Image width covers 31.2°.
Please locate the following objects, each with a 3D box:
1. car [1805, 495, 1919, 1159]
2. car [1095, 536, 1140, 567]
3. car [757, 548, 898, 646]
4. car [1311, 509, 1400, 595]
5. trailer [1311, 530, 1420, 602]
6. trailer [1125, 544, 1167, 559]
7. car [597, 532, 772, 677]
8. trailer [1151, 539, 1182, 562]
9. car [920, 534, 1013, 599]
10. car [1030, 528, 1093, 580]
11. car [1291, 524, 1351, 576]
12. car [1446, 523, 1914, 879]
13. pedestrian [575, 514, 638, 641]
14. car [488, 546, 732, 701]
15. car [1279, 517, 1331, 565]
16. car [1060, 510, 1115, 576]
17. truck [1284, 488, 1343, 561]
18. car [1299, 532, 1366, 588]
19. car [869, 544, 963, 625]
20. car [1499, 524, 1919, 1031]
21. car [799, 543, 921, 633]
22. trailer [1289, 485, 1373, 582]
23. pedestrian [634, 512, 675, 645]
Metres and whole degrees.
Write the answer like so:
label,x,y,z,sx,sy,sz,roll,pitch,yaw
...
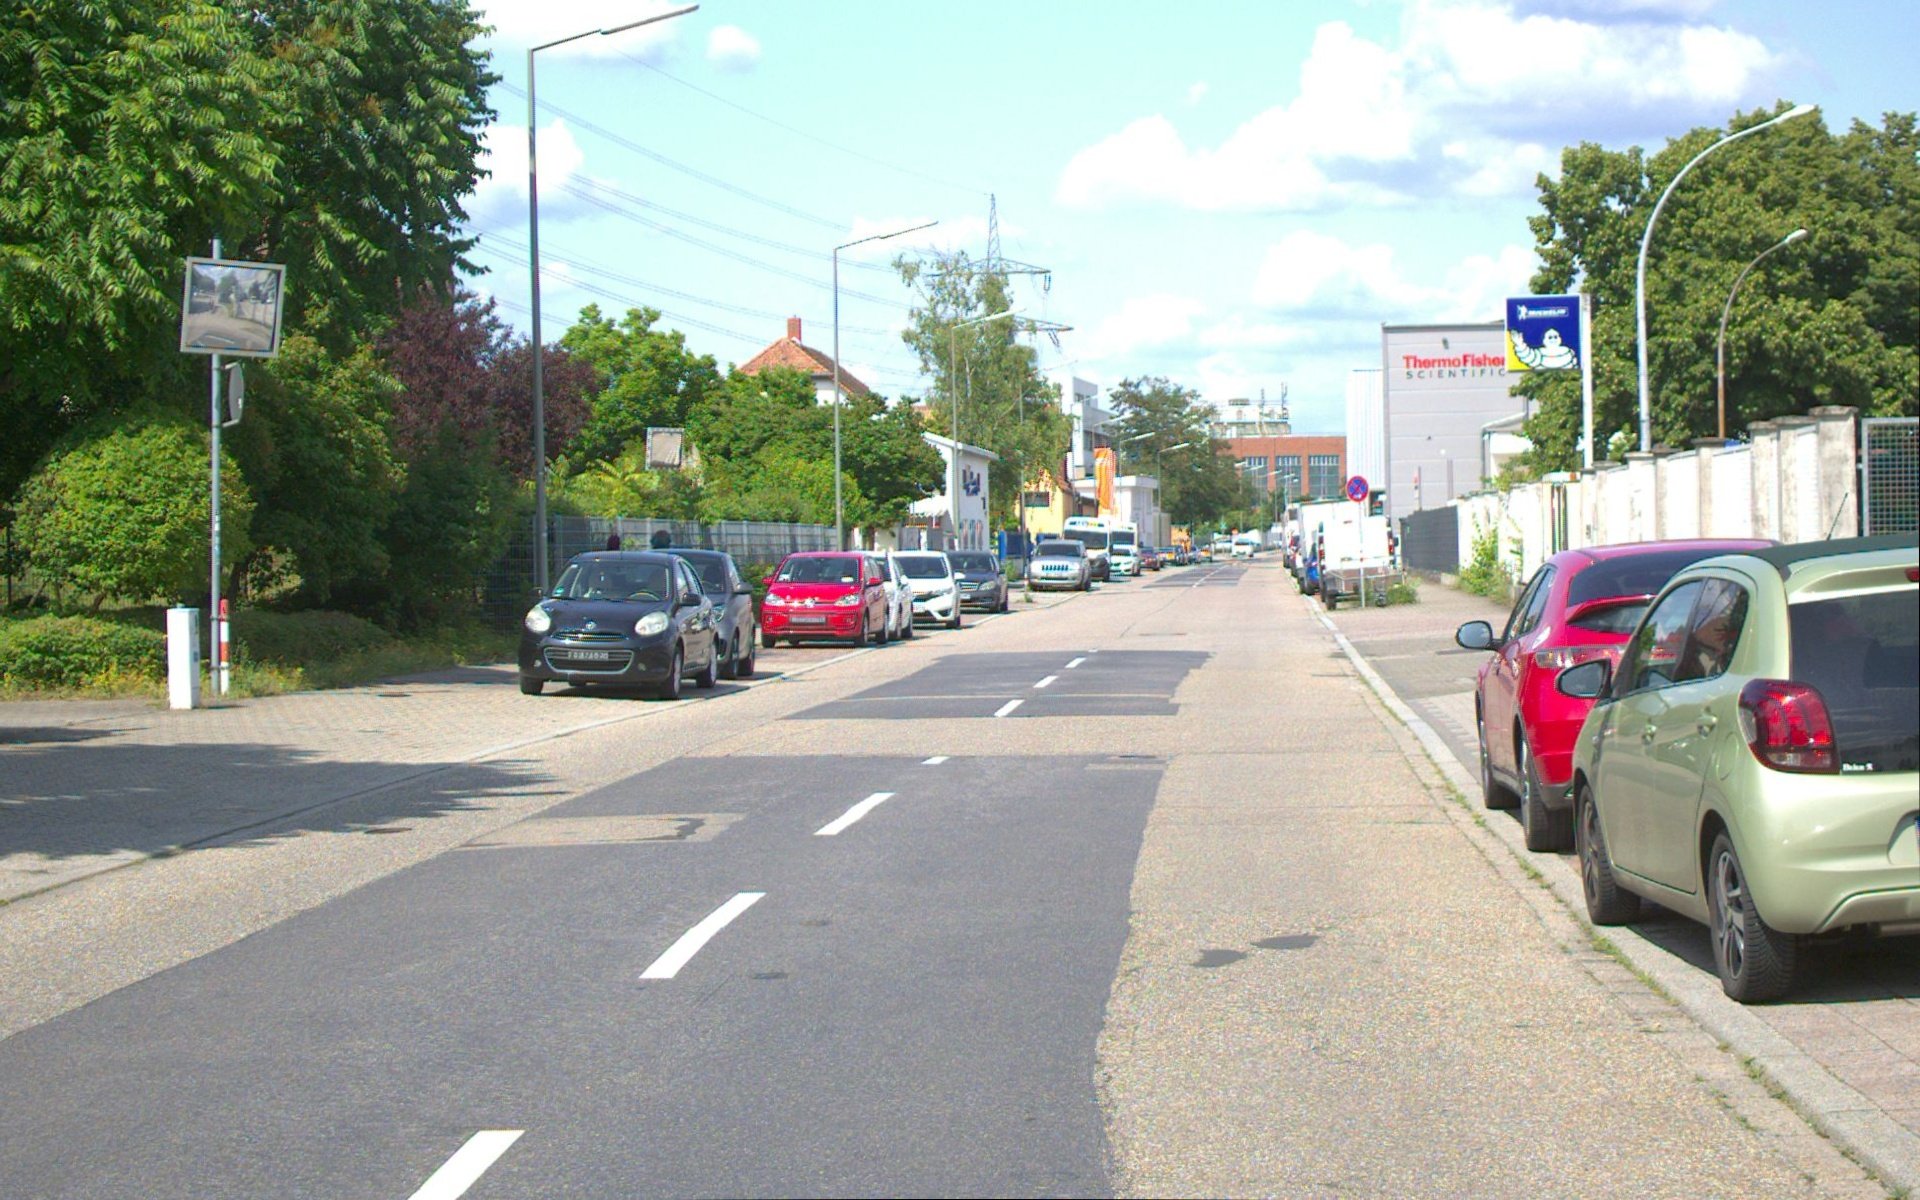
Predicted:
label,x,y,z,sx,sy,sz,roll,pitch,yaw
car,3.106,0.509,6.816,1.833,1.602,4.568,-4,1,3
car,7.283,-2.226,158.769,1.796,1.392,4.500,1,1,6
car,-2.041,-0.071,53.855,1.666,1.462,3.743,1,1,6
car,9.822,-1.201,85.647,1.994,2.007,5.649,-1,1,5
trailer,8.833,-0.724,75.239,1.749,1.412,4.550,-4,0,0
trailer,11.717,-3.045,216.225,2.363,0.890,5.568,1,1,5
car,-3.315,0.022,41.842,1.650,1.640,3.273,2,1,3
trailer,14.226,-3.430,237.097,1.994,1.551,4.253,-1,1,5
car,0.176,-0.794,79.156,1.805,1.414,4.496,1,1,4
car,3.454,-1.567,116.527,1.791,1.713,4.751,2,1,5
car,12.893,-1.811,122.958,1.936,1.688,4.679,-4,1,5
car,3.541,0.421,17.616,1.754,1.481,4.224,-4,1,5
pedestrian,-5.044,-0.321,49.092,0.708,1.795,0.916,-1,0,5
car,-3.698,0.210,36.980,1.845,1.503,3.999,2,1,5
car,15.018,-2.583,149.409,2.054,1.897,5.146,-4,1,6
car,5.184,-2.299,139.130,2.030,2.549,6.656,1,1,3
truck,17.136,-3.639,166.778,2.459,3.282,6.816,-6,0,6
car,10.568,-1.129,97.716,1.690,1.456,4.070,-3,0,4
car,-0.837,-0.323,67.628,1.620,1.517,4.175,-1,1,2
car,3.194,0.507,12.528,1.699,1.481,3.808,-4,1,-1
car,-1.662,-0.221,58.600,1.645,1.472,4.028,-1,1,4
trailer,11.245,-1.992,104.674,2.205,2.727,6.221,-4,0,5
pedestrian,-4.386,-0.309,49.412,0.451,1.887,0.677,-1,0,5
